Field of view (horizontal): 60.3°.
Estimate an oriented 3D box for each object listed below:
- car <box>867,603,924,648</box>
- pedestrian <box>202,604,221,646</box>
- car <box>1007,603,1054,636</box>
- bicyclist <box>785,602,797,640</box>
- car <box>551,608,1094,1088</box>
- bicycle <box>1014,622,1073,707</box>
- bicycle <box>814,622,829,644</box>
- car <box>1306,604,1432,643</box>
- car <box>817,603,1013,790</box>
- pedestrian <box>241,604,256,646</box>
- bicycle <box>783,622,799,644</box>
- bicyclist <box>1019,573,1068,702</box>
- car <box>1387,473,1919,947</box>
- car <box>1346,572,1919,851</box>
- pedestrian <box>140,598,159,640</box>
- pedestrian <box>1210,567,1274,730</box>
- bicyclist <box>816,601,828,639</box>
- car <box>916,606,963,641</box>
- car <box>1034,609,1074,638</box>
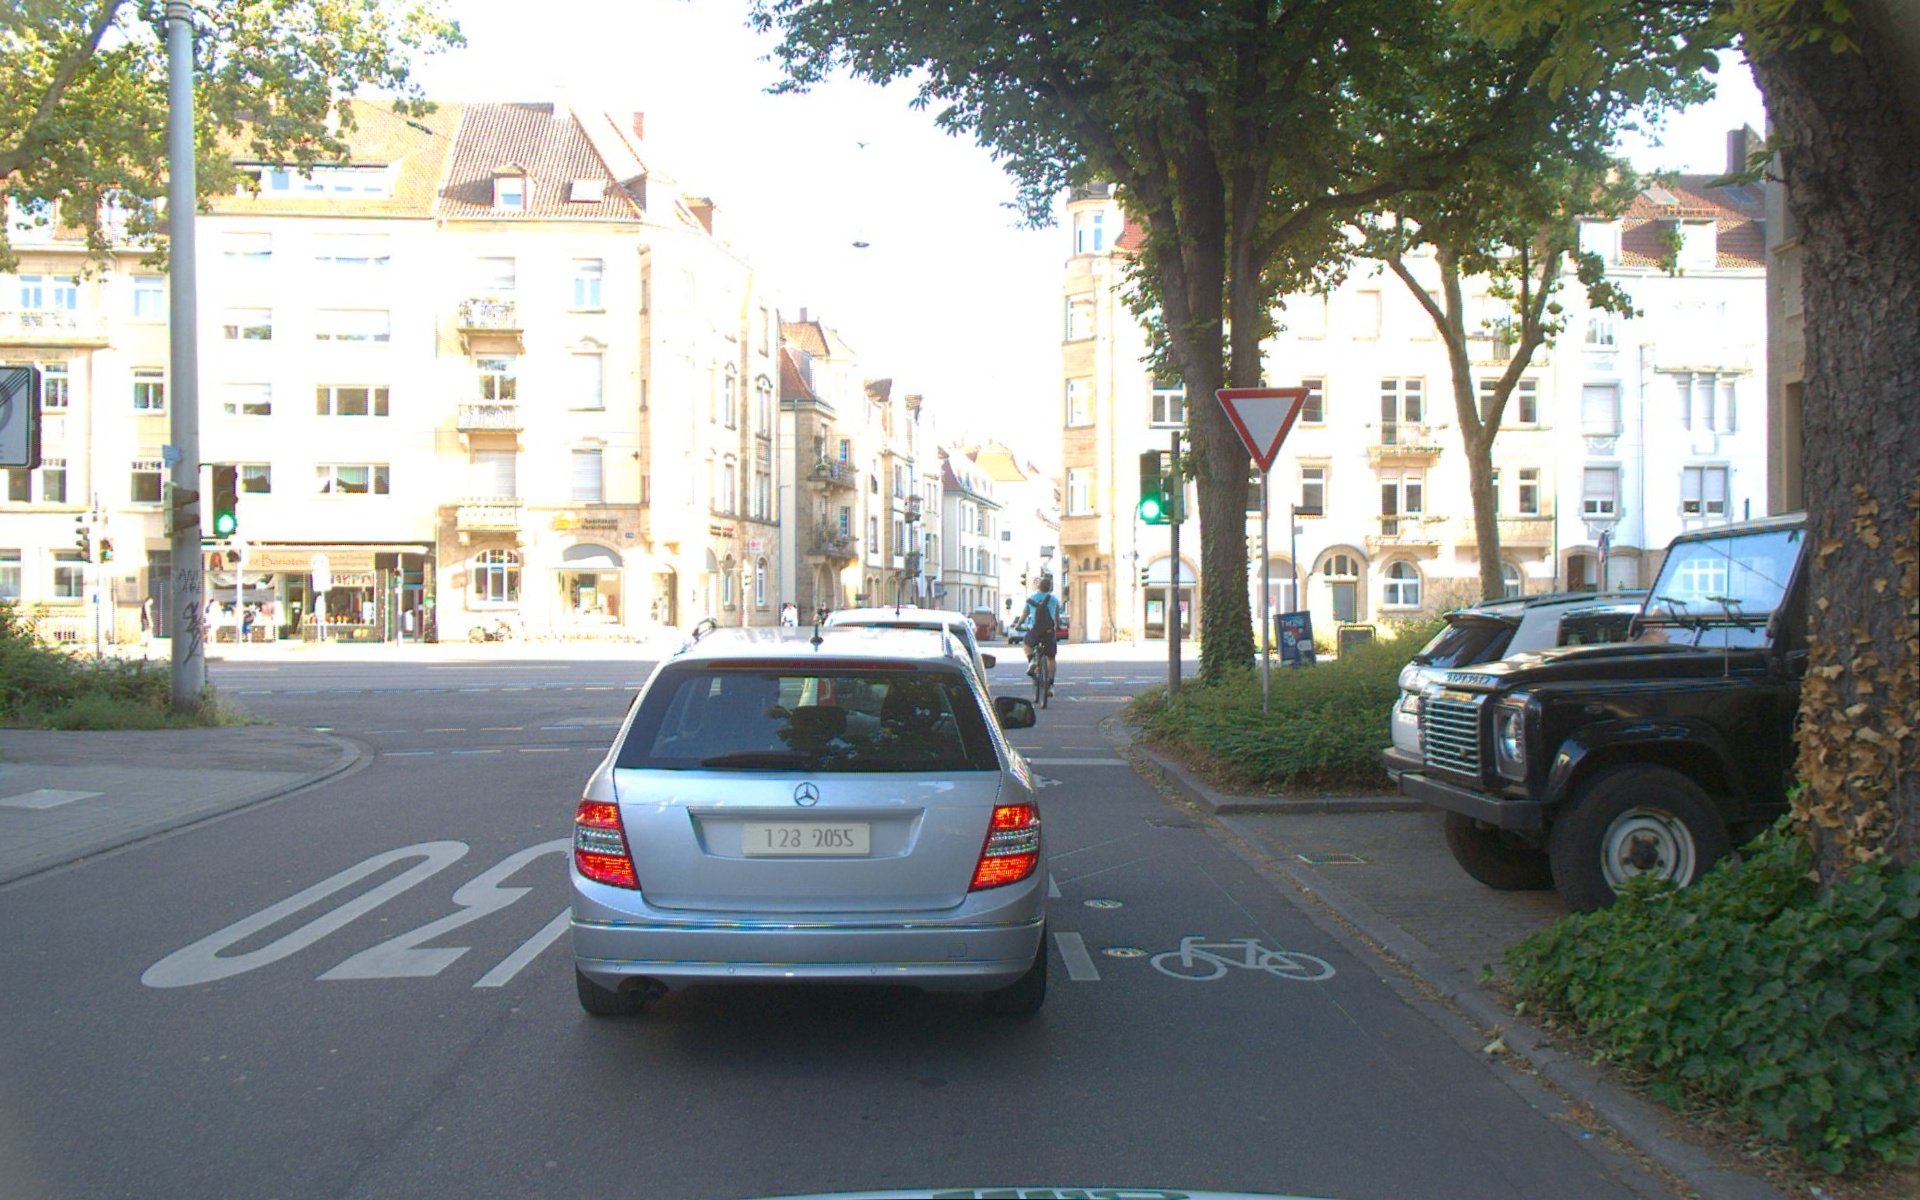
[{"bbox_3d":[-2.949,1.146,76.330,1.896,1.993,4.153,0,0,8],"label":"car"},{"bbox_3d":[-28.033,0.935,61.964,0.498,1.537,0.536,0,0,-6],"label":"pedestrian"},{"bbox_3d":[3.619,0.984,83.845,1.684,1.504,4.004,-2,0,12],"label":"car"},{"bbox_3d":[-6.917,0.836,67.565,0.457,1.541,0.655,0,0,-4],"label":"bicyclist"},{"bbox_3d":[-0.497,0.784,6.873,1.656,1.454,3.490,1,0,-3],"label":"car"},{"bbox_3d":[1.178,0.901,23.774,0.727,1.137,2.013,1,0,0],"label":"bicycle"},{"bbox_3d":[-5.697,1.349,68.194,0.557,0.849,1.564,0,0,-3],"label":"bicycle"},{"bbox_3d":[11.754,0.655,47.620,3.296,1.087,1.380,0,0,-1],"label":"car"},{"bbox_3d":[-0.397,0.745,14.535,1.502,1.415,3.598,0,0,-2],"label":"car"},{"bbox_3d":[-26.633,0.933,61.907,0.466,1.537,0.428,0,0,-20],"label":"pedestrian"},{"bbox_3d":[-6.912,1.356,67.597,0.557,0.849,1.564,0,0,-3],"label":"bicycle"},{"bbox_3d":[1.193,0.532,23.802,0.633,1.806,0.830,1,-1,0],"label":"bicyclist"},{"bbox_3d":[4.578,0.423,8.172,4.401,1.990,1.792,-2,0,-3],"label":"car"},{"bbox_3d":[4.536,0.671,11.078,3.414,1.614,1.708,-1,0,-6],"label":"car"},{"bbox_3d":[-29.776,0.703,60.791,0.556,1.537,0.499,0,0,-19],"label":"pedestrian"},{"bbox_3d":[3.297,0.560,19.359,0.619,1.877,0.574,0,0,-4],"label":"pedestrian"},{"bbox_3d":[-5.694,0.833,68.207,0.457,1.547,0.693,0,0,-4],"label":"bicyclist"},{"bbox_3d":[-1.030,1.202,85.143,1.650,1.753,4.003,0,0,10],"label":"car"},{"bbox_3d":[5.715,1.401,100.054,1.684,1.503,4.004,-4,0,12],"label":"car"}]
